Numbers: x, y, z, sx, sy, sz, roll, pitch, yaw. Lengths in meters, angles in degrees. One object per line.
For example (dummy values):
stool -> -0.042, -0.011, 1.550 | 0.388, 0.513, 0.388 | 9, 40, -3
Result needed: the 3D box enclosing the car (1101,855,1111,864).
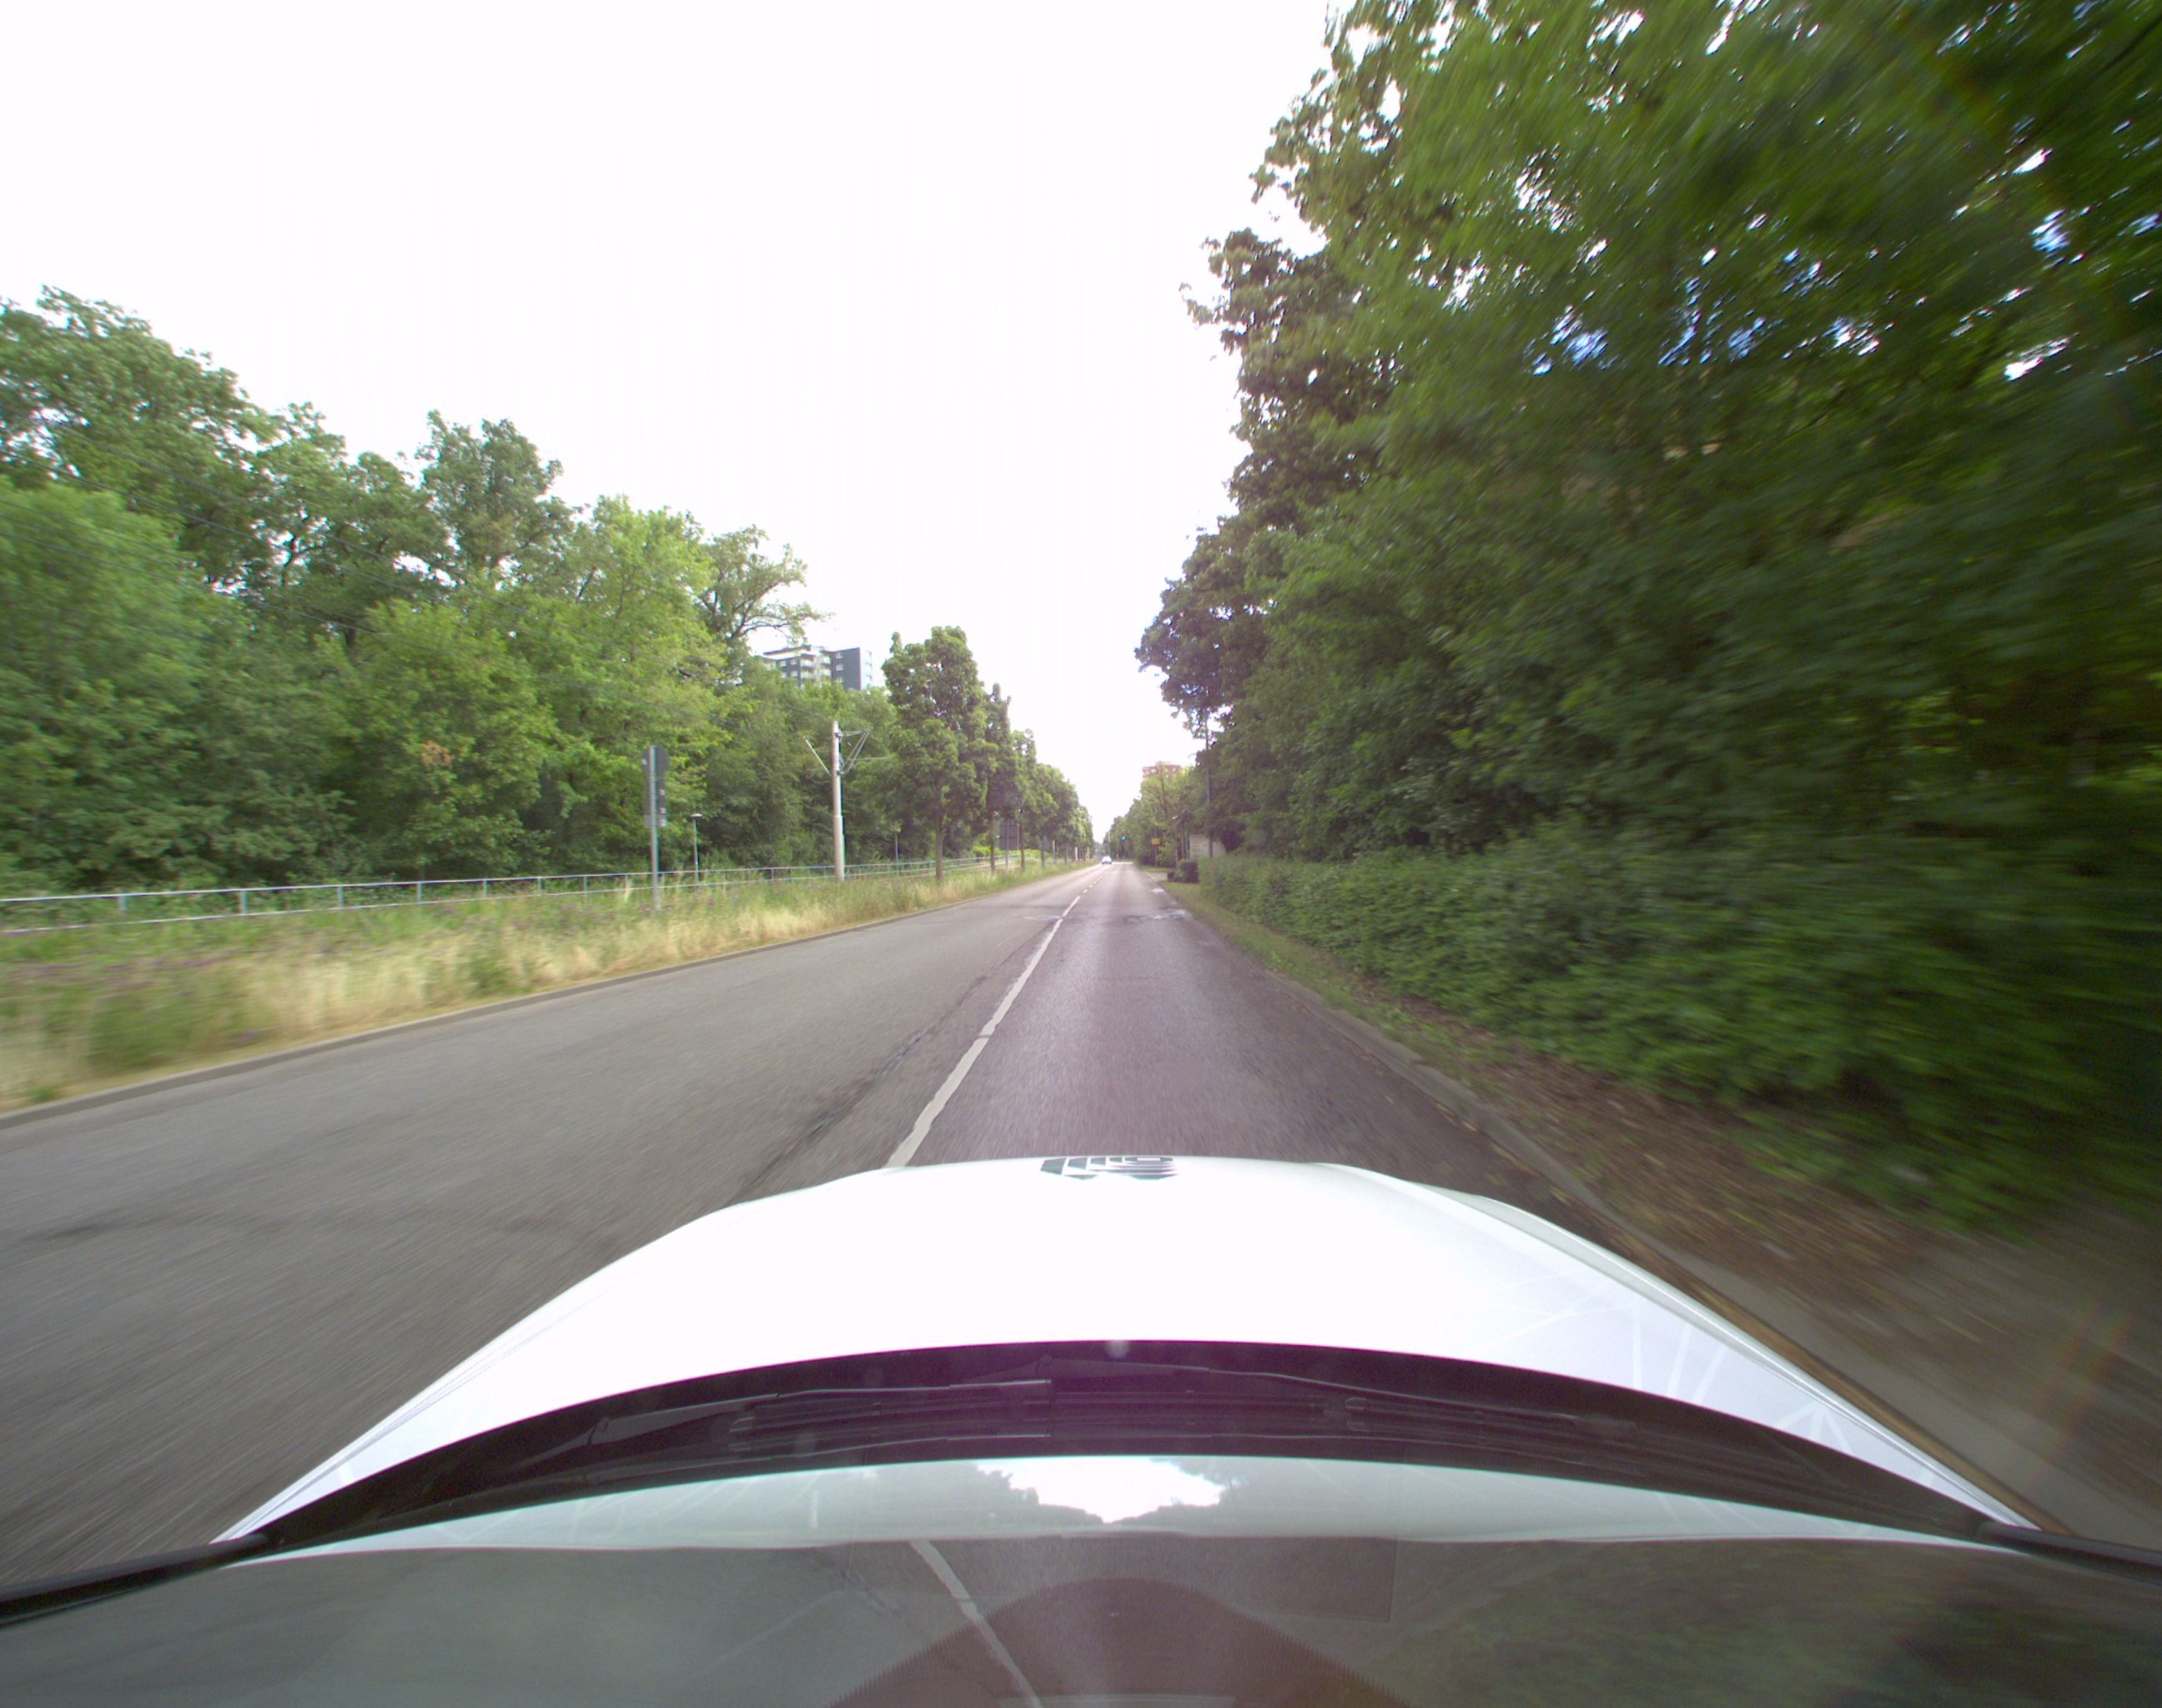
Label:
car -> 4.816, 1.031, 156.925 | 1.709, 1.629, 4.003 | 2, 0, 3
